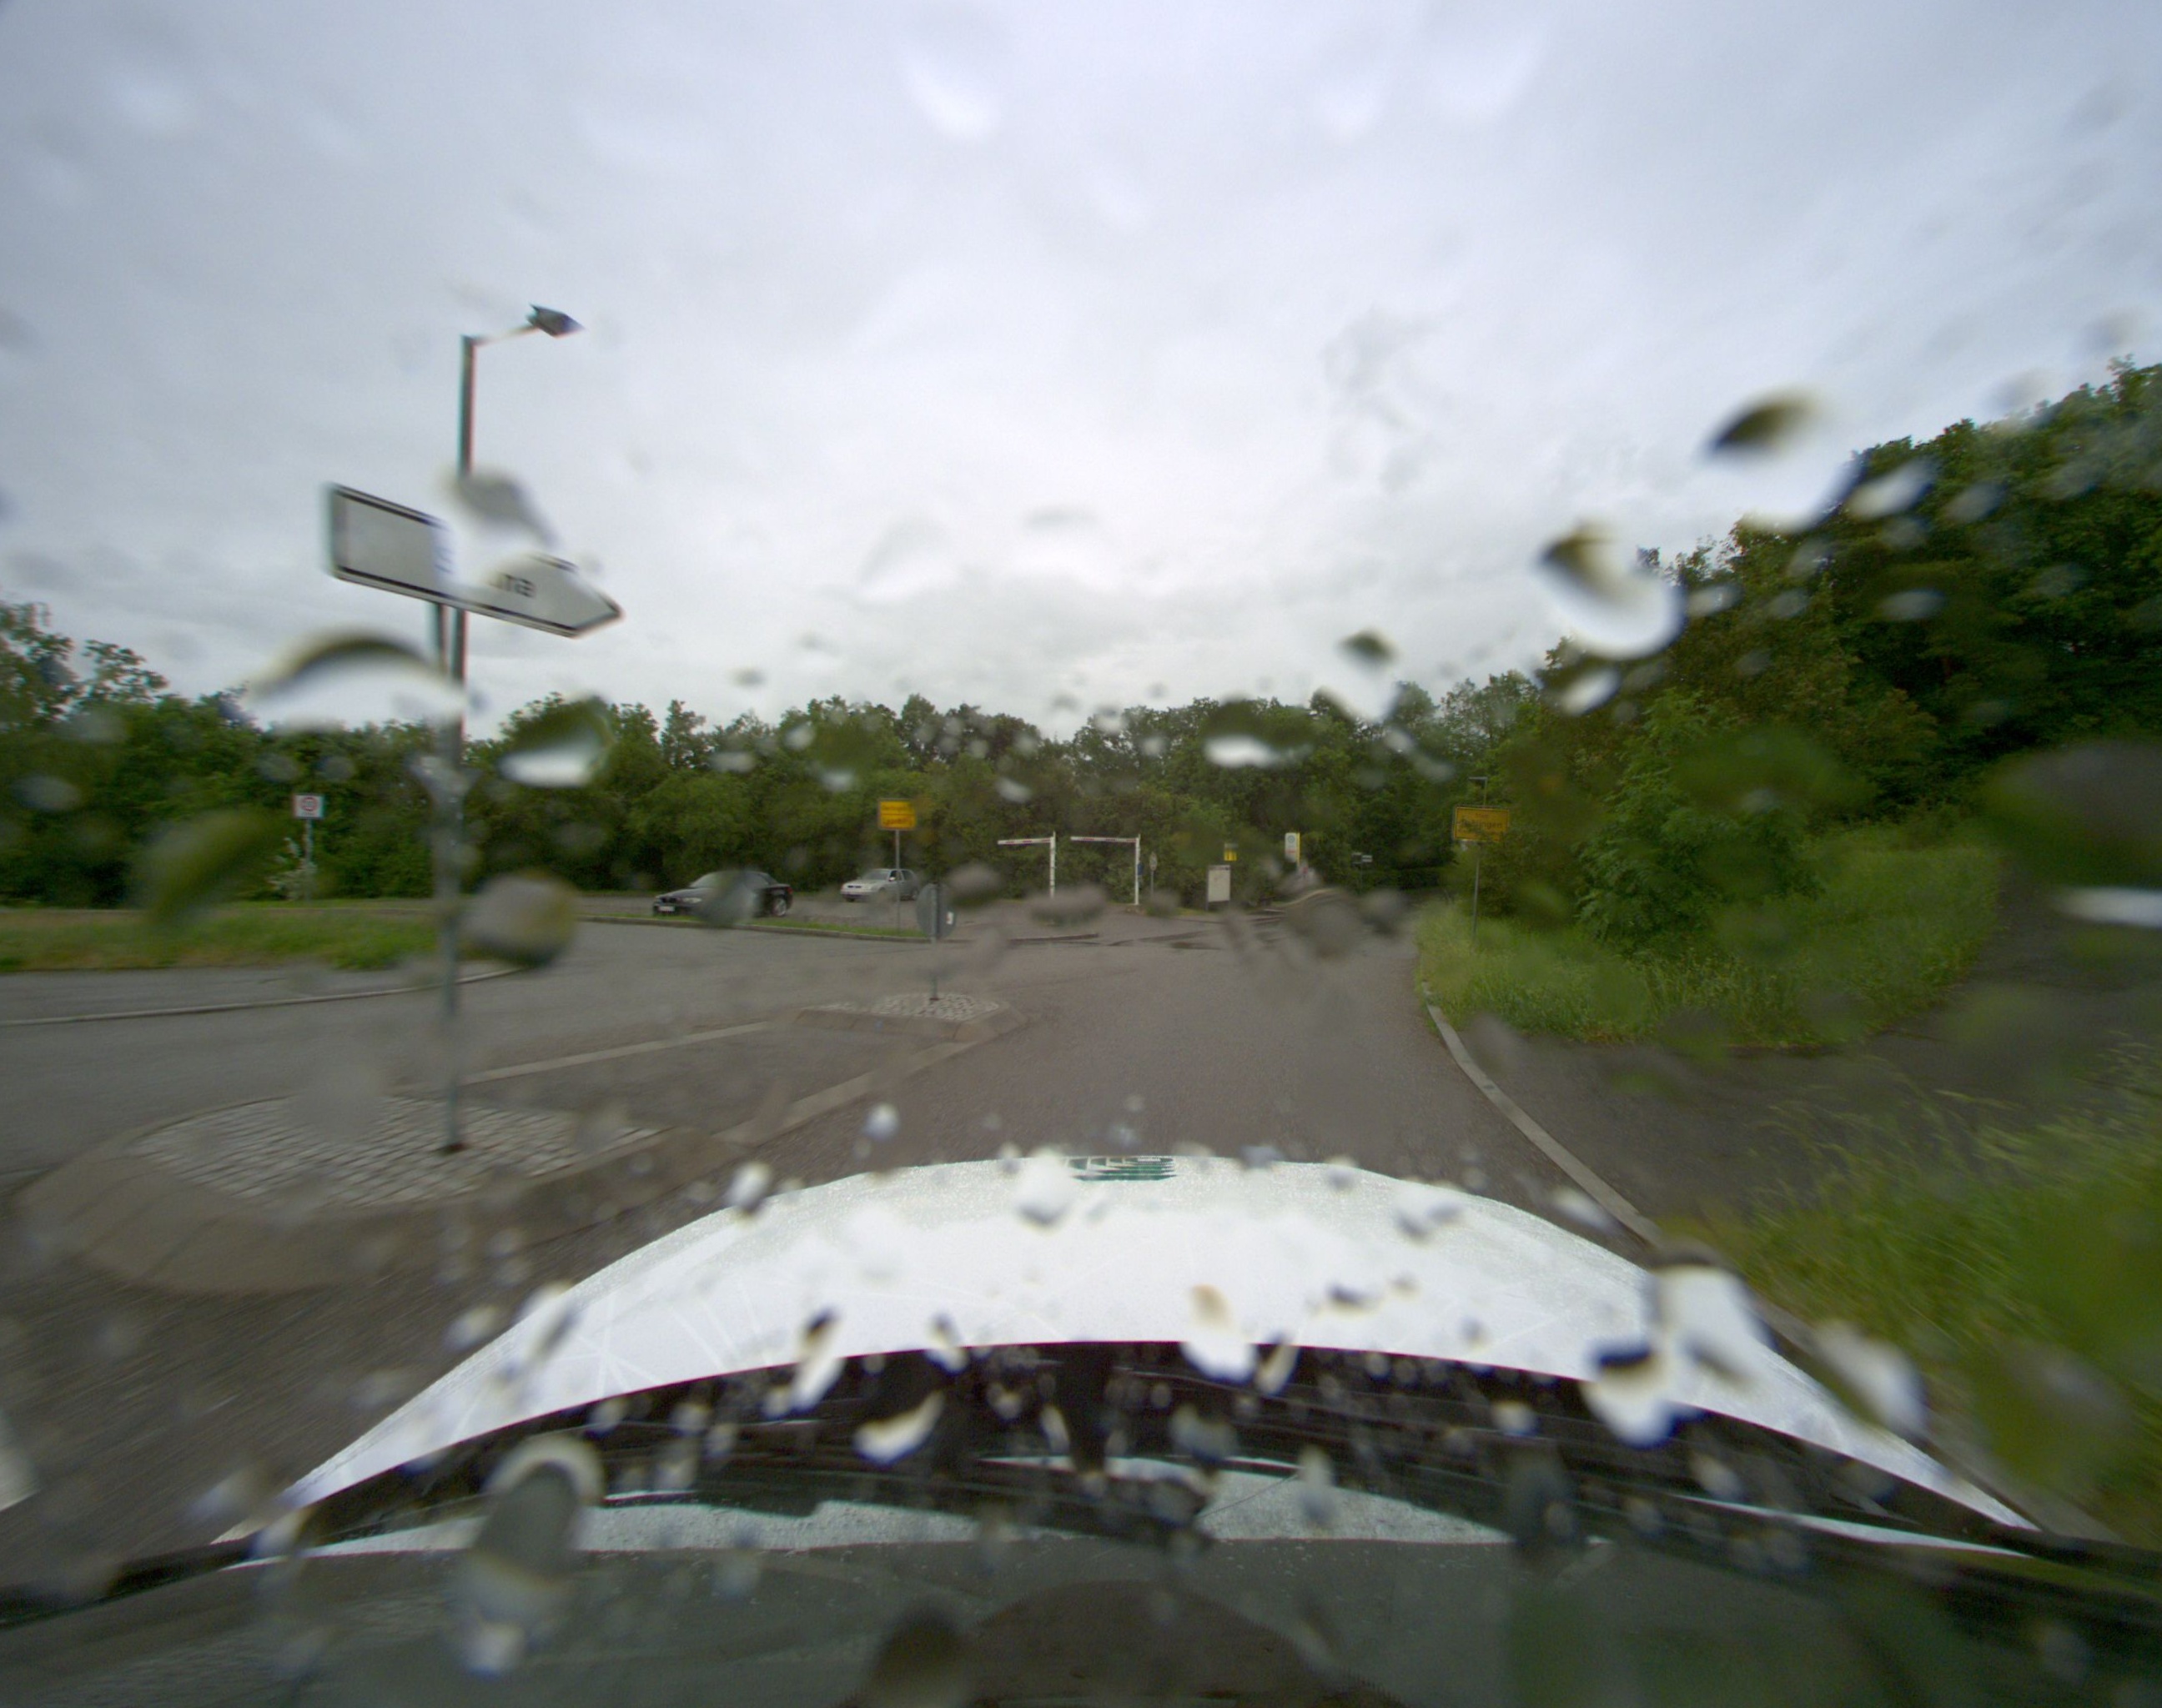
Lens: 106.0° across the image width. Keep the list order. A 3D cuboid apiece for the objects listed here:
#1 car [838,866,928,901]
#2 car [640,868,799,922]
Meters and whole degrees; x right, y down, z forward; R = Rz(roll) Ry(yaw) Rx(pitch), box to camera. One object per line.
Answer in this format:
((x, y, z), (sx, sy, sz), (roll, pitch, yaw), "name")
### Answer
((-8.333, 1.214, 34.684), (1.588, 1.355, 4.144), (0, -1, 22), "car")
((-10.102, 1.138, 23.146), (1.607, 1.355, 4.209), (0, -2, 19), "car")
